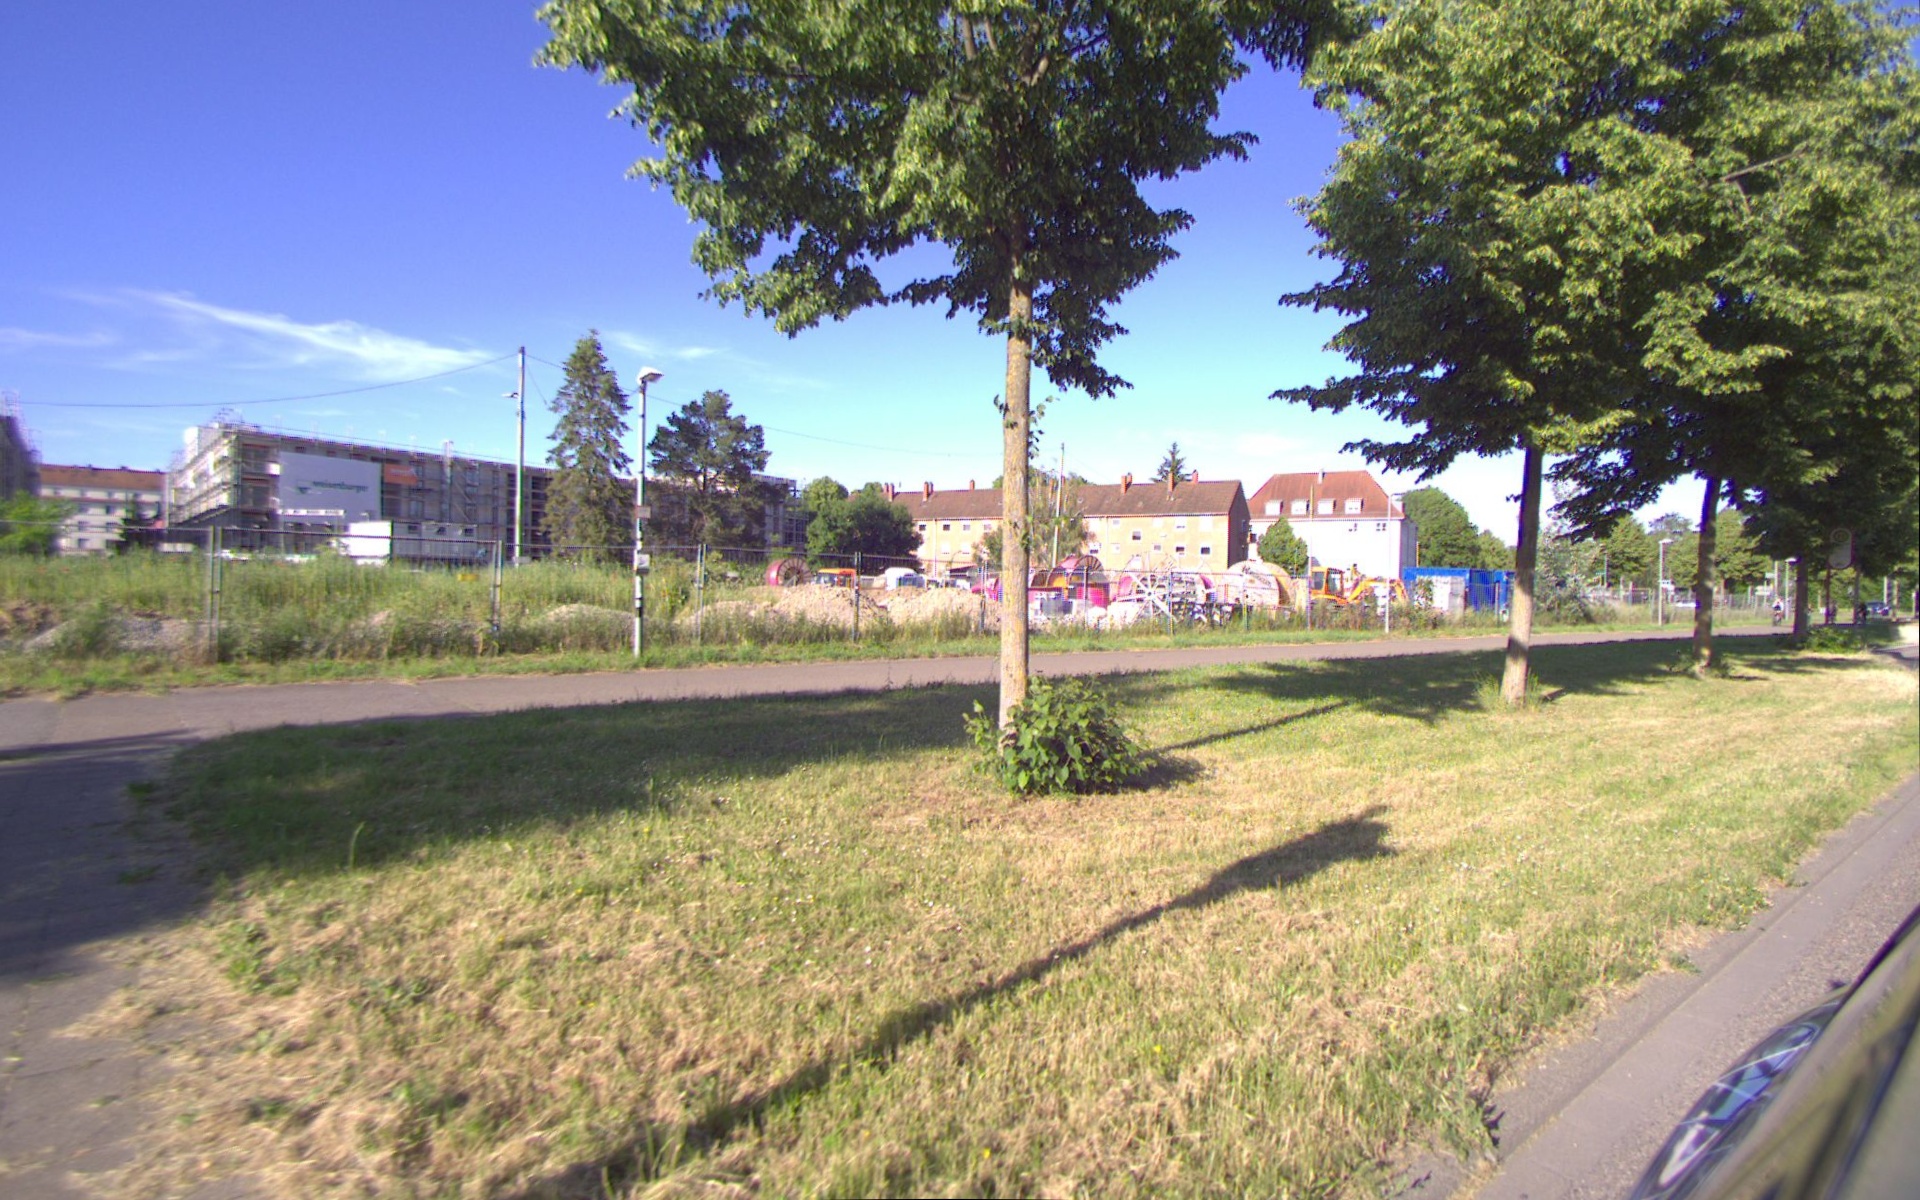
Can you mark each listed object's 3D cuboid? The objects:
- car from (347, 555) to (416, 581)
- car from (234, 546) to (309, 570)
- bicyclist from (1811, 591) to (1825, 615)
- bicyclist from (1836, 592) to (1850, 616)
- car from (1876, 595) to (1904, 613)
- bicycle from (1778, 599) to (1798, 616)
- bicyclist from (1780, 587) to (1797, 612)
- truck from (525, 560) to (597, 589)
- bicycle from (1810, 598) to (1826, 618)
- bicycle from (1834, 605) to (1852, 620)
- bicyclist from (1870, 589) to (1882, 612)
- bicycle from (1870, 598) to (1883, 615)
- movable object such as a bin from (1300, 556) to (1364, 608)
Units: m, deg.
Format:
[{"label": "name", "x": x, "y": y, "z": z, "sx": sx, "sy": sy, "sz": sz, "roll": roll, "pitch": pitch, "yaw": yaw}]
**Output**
[{"label": "car", "x": -38.048, "y": -2.106, "z": 66.587, "sx": 1.619, "sy": 1.638, "sz": 3.596, "roll": 1, "pitch": 2, "yaw": 43}, {"label": "car", "x": -48.205, "y": -2.945, "z": 70.904, "sx": 1.819, "sy": 1.638, "sz": 3.954, "roll": 0, "pitch": 2, "yaw": 33}, {"label": "bicyclist", "x": 52.565, "y": 0.177, "z": 61.983, "sx": 0.819, "sy": 1.491, "sz": 0.504, "roll": 0, "pitch": 1, "yaw": -40}, {"label": "bicyclist", "x": 61.310, "y": 0.249, "z": 70.258, "sx": 0.948, "sy": 1.606, "sz": 0.593, "roll": -1, "pitch": 1, "yaw": -38}, {"label": "car", "x": 93.281, "y": 0.397, "z": 101.476, "sx": 3.191, "sy": 1.660, "sz": 1.682, "roll": 0, "pitch": 1, "yaw": -41}, {"label": "bicycle", "x": 51.769, "y": 0.449, "z": 63.259, "sx": 1.788, "sy": 1.025, "sz": 0.657, "roll": 0, "pitch": 1, "yaw": -40}, {"label": "bicyclist", "x": 51.790, "y": -0.042, "z": 63.263, "sx": 0.780, "sy": 1.572, "sz": 0.654, "roll": 0, "pitch": 1, "yaw": -40}, {"label": "truck", "x": -28.587, "y": -1.818, "z": 72.572, "sx": 1.990, "sy": 2.039, "sz": 4.370, "roll": 2, "pitch": 1, "yaw": 39}, {"label": "bicycle", "x": 52.559, "y": 0.469, "z": 61.980, "sx": 1.577, "sy": 1.166, "sz": 0.507, "roll": 0, "pitch": 2, "yaw": -41}, {"label": "bicycle", "x": 61.319, "y": 0.860, "z": 70.272, "sx": 1.866, "sy": 0.972, "sz": 0.593, "roll": -2, "pitch": 2, "yaw": -38}, {"label": "bicyclist", "x": 62.554, "y": 0.015, "z": 69.077, "sx": 0.899, "sy": 1.504, "sz": 0.471, "roll": -1, "pitch": 1, "yaw": -39}, {"label": "bicycle", "x": 62.572, "y": 0.467, "z": 69.089, "sx": 1.615, "sy": 1.095, "sz": 0.479, "roll": -2, "pitch": 2, "yaw": -40}, {"label": "movable object such as a bin", "x": 15.031, "y": -0.734, "z": 40.938, "sx": 1.757, "sy": 2.038, "sz": 1.799, "roll": -2, "pitch": 2, "yaw": -39}]
